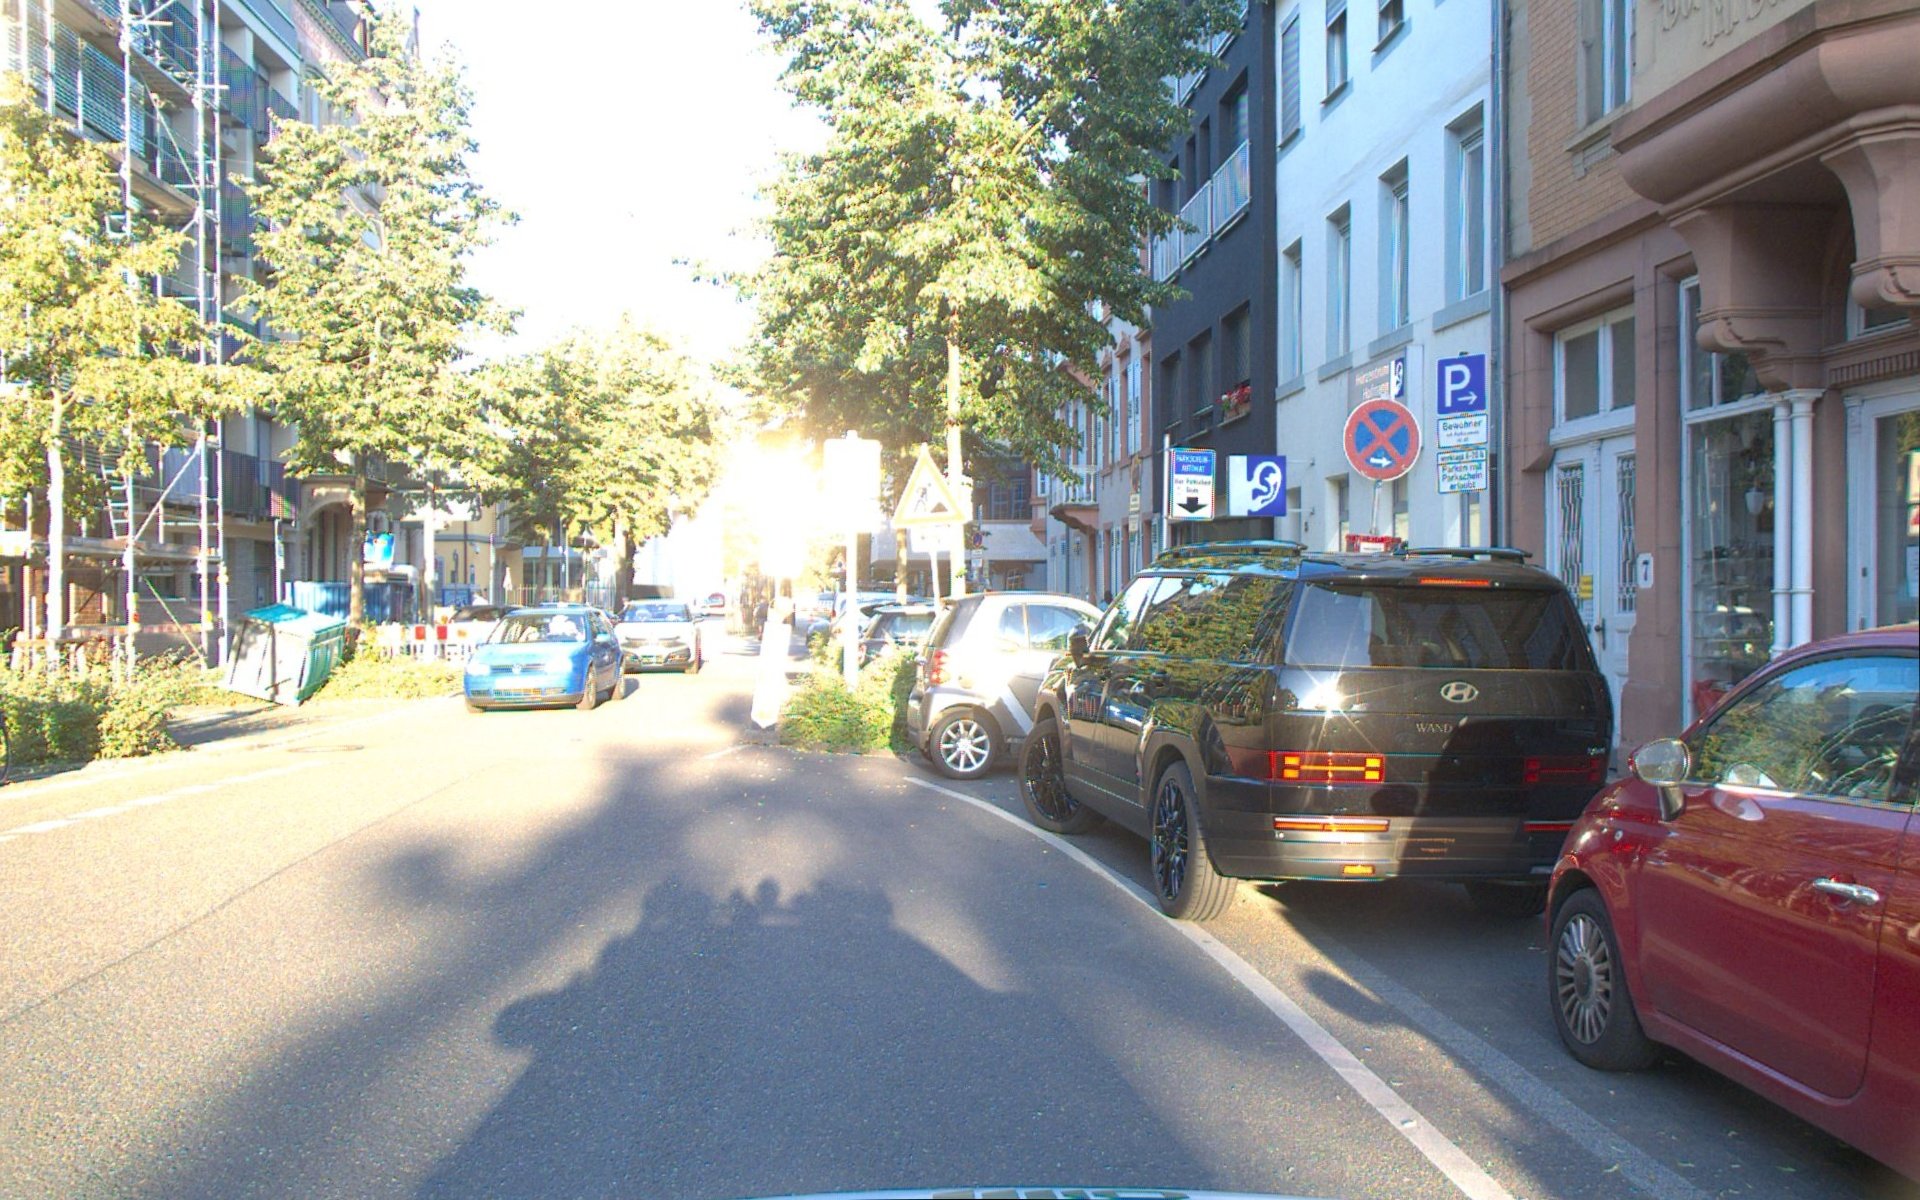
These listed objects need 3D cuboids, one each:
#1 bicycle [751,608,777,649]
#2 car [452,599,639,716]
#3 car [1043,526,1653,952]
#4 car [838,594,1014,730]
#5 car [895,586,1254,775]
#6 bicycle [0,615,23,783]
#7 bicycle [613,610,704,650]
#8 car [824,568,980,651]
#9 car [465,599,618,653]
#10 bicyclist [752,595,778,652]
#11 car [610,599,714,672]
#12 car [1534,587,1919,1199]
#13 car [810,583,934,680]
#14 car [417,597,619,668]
[{"bbox_3d":[-6.082,0.867,51.321,0.766,1.225,2.018,-1,0,-7],"label":"bicycle"},{"bbox_3d":[-5.815,0.760,23.676,1.802,1.466,4.328,-1,0,-4],"label":"car"},{"bbox_3d":[1.736,0.588,8.986,1.790,1.725,4.361,1,0,-8],"label":"car"},{"bbox_3d":[-0.585,0.802,23.203,1.956,1.697,4.501,1,0,-8],"label":"car"},{"bbox_3d":[0.964,0.692,14.618,2.913,1.563,1.430,1,-1,-9],"label":"car"},{"bbox_3d":[-8.047,0.813,12.462,0.830,1.374,3.176,0,0,-13],"label":"bicycle"},{"bbox_3d":[-10.633,1.047,58.439,3.119,1.374,0.845,-1,0,-11],"label":"bicycle"},{"bbox_3d":[-1.460,0.229,42.517,3.905,2.049,2.000,0,0,-1],"label":"car"},{"bbox_3d":[-12.224,0.760,48.510,4.021,1.491,1.888,1,-1,-3],"label":"car"},{"bbox_3d":[-6.038,0.718,51.198,0.766,1.726,1.006,-1,0,-7],"label":"bicyclist"},{"bbox_3d":[-6.578,0.761,36.931,1.847,1.506,4.454,1,0,-5],"label":"car"},{"bbox_3d":[2.903,0.743,4.302,1.555,1.509,3.264,1,0,-3],"label":"car"},{"bbox_3d":[-2.023,0.670,36.469,2.223,1.796,4.501,6,-1,-8],"label":"car"},{"bbox_3d":[-9.811,0.720,36.940,4.021,1.491,1.888,1,-1,-3],"label":"car"}]
